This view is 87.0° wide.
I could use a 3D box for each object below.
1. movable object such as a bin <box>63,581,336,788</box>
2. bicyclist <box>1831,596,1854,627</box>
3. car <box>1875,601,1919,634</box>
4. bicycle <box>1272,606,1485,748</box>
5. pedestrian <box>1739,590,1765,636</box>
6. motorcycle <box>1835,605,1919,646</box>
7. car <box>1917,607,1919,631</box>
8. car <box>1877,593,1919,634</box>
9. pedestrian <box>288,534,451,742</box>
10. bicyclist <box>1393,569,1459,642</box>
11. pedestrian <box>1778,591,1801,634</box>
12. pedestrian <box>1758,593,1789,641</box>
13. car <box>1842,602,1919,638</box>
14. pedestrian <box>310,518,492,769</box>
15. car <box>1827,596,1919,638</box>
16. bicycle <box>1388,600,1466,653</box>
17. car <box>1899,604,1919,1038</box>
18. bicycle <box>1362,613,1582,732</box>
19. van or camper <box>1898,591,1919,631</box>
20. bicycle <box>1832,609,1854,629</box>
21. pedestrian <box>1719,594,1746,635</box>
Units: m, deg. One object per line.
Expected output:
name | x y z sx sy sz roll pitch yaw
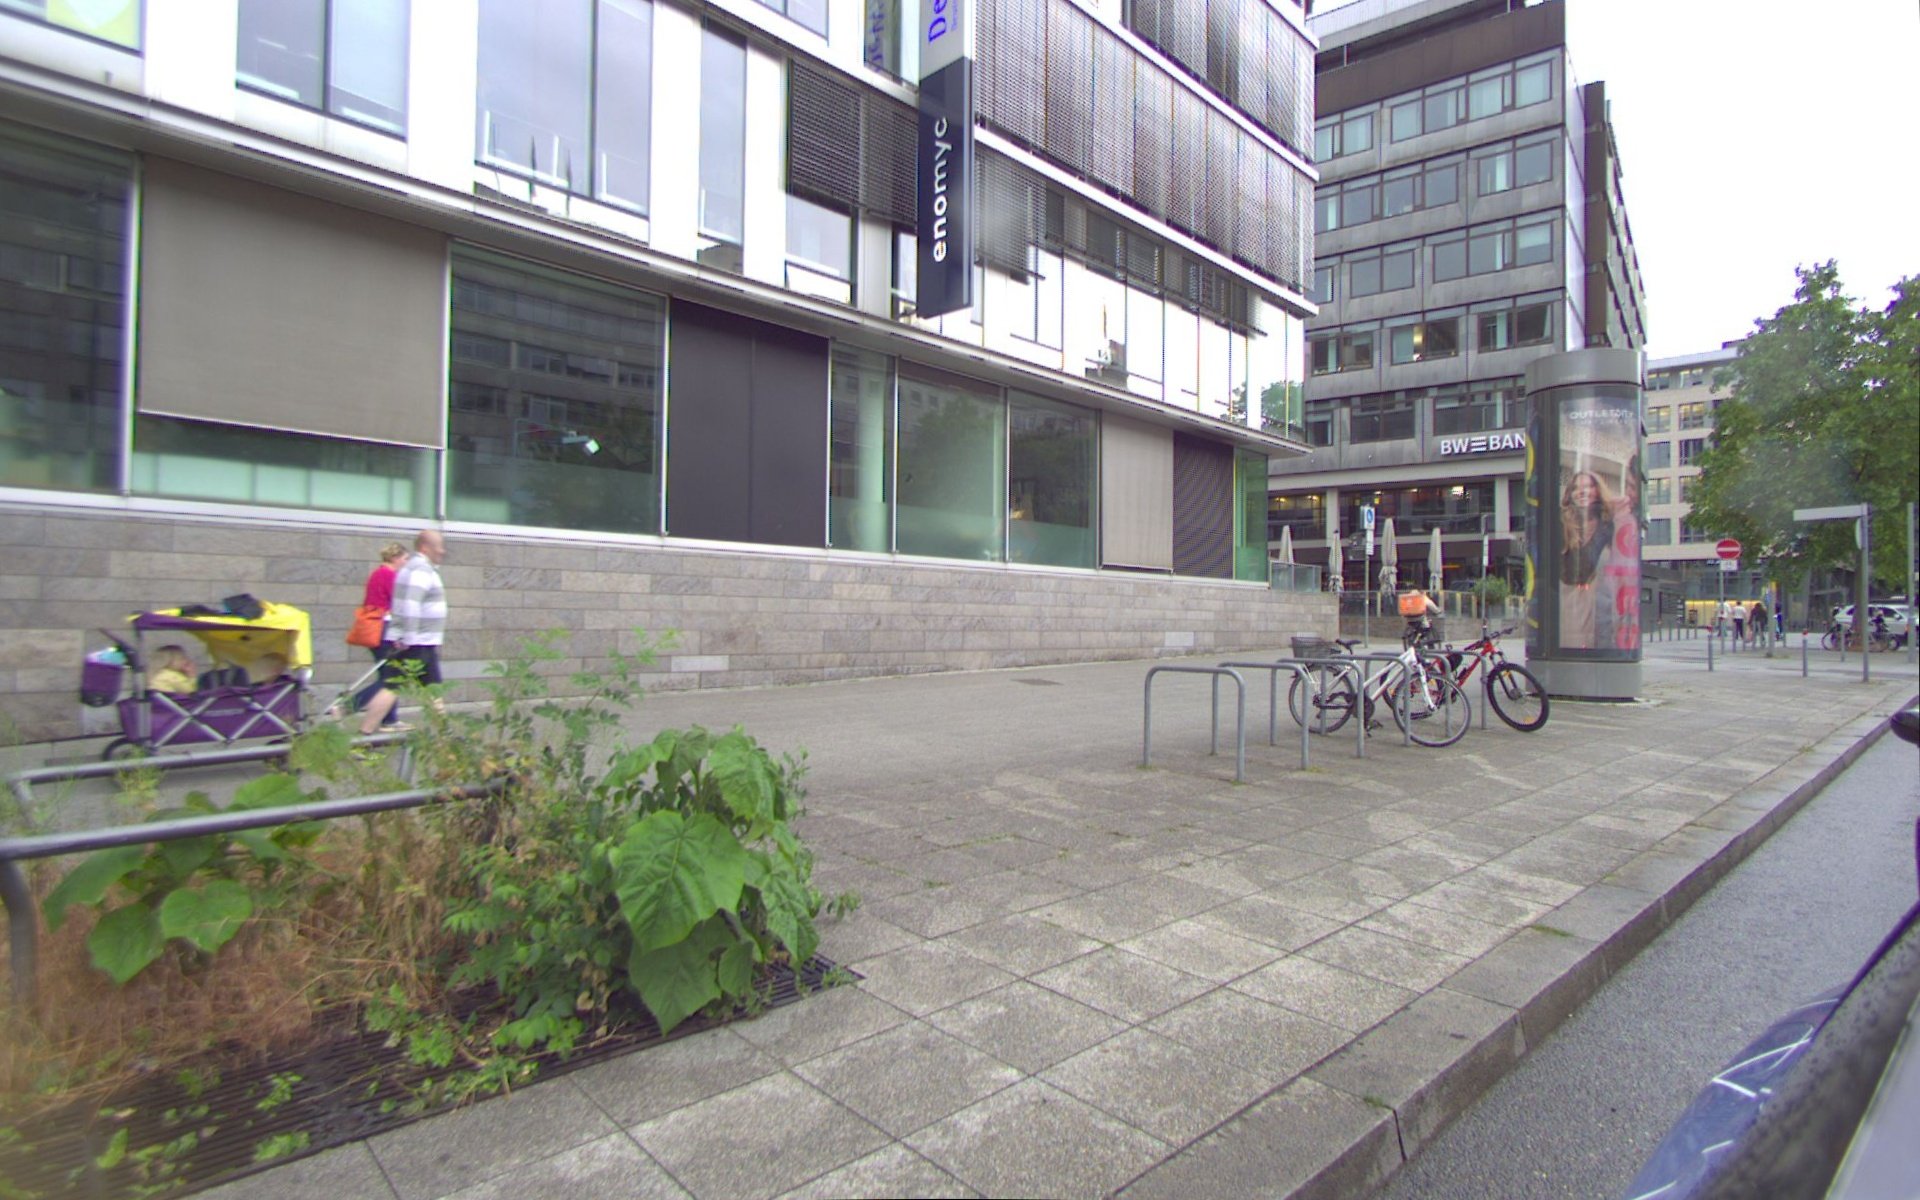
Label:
movable object such as a bin | -5.235 0.532 7.011 1.420 1.280 0.732 2 -1 -44
bicyclist | 51.805 0.689 59.412 1.062 1.772 0.810 -1 -4 -44
car | 46.766 0.814 48.212 1.876 1.557 4.399 0 -1 -14
bicycle | 4.033 0.690 9.883 0.648 1.212 1.841 1 0 -37
pedestrian | 35.803 0.603 45.740 0.847 2.065 0.743 -1 -2 36
motorcycle | 31.769 0.871 35.030 0.664 1.375 2.090 1 -2 -34
car | 58.709 1.084 58.923 1.673 1.442 4.068 0 -1 -12
car | 48.775 0.668 50.222 1.882 2.018 4.525 0 -1 -12
pedestrian | -5.236 0.301 8.989 0.718 1.711 1.082 2 1 44
bicyclist | 10.661 0.139 23.157 1.011 1.603 1.118 -4 -3 43
pedestrian | 36.931 0.556 45.035 0.719 1.908 0.646 -2 -2 43
pedestrian | 29.463 0.618 36.651 0.712 1.707 0.525 -1 -2 21
car | 41.066 0.863 43.389 1.877 1.493 4.729 0 -1 -9
pedestrian | -4.416 0.300 7.999 0.900 1.814 1.030 3 1 44
car | 38.709 0.692 41.362 1.876 1.671 4.812 0 -1 -11
bicycle | 10.706 0.583 23.150 1.009 1.128 2.034 1 1 44
car | 5.072 0.730 4.070 3.770 1.435 1.631 0 -1 -43
bicycle | 5.493 0.723 10.974 0.793 1.118 1.989 1 0 -37
van or camper | 61.321 0.643 61.423 2.267 2.479 6.276 0 -1 -11
bicycle | 51.899 1.114 59.450 1.945 1.154 0.775 1 -5 -45
pedestrian | 35.351 0.667 46.325 0.883 1.893 0.802 1 -2 -42
